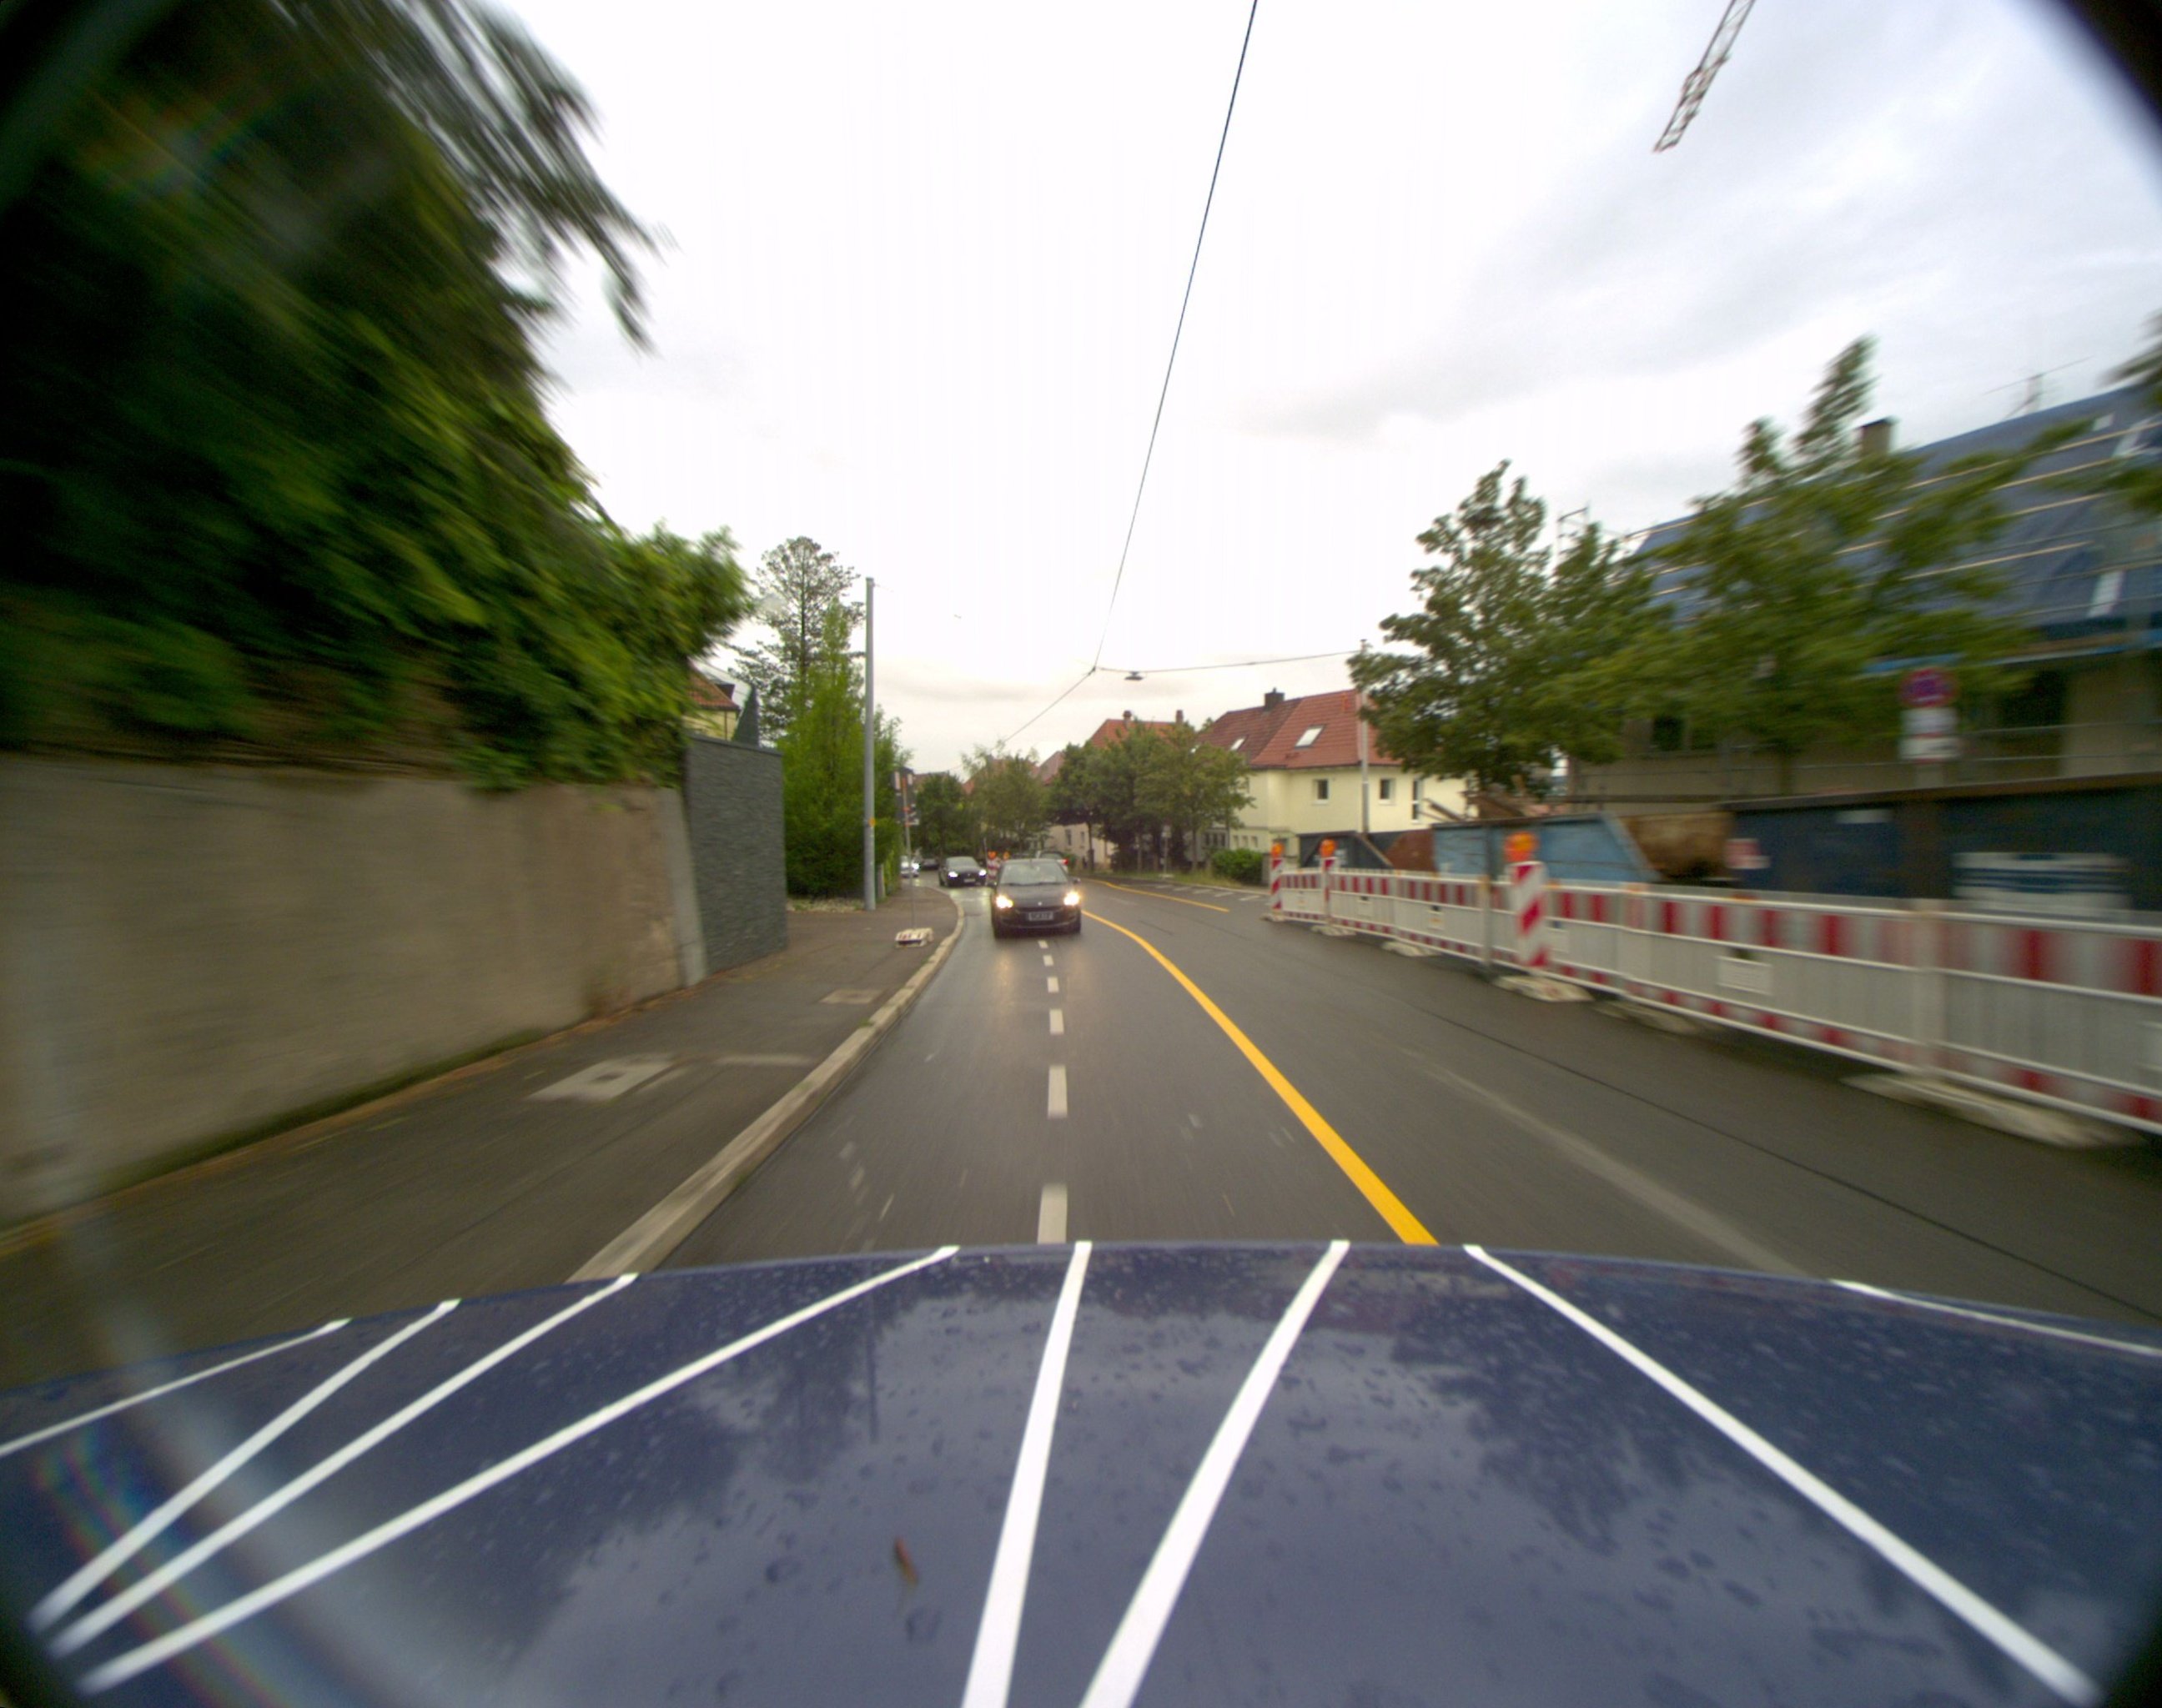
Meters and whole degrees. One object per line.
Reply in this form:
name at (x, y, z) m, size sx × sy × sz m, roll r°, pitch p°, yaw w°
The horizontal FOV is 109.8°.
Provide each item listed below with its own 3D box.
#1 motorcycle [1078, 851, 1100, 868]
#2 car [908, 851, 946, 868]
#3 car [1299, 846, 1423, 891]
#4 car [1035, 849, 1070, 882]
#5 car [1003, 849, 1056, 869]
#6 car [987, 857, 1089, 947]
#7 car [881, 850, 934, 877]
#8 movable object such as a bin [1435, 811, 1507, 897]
motorcycle at (0.582, 0.409, 56.973) m, size 0.735 × 1.241 × 1.965 m, roll -5°, pitch 2°, yaw -29°
car at (-13.959, 0.510, 68.659) m, size 1.714 × 1.375 × 4.518 m, roll -5°, pitch 3°, yaw -34°
car at (10.648, 0.548, 28.951) m, size 4.216 × 1.595 × 1.946 m, roll 1°, pitch 1°, yaw -23°
car at (-1.456, 0.546, 38.173) m, size 1.460 × 1.517 × 2.921 m, roll -3°, pitch 1°, yaw -7°
car at (-4.620, 0.468, 68.411) m, size 4.259 × 1.495 × 1.910 m, roll 5°, pitch -1°, yaw -24°
car at (-1.034, 0.869, 15.806) m, size 1.747 × 1.434 × 4.356 m, roll -4°, pitch 1°, yaw -7°
car at (-12.759, 0.678, 55.703) m, size 2.022 × 1.729 × 4.587 m, roll -7°, pitch 4°, yaw -35°
movable object such as a bin at (11.787, -0.014, 23.010) m, size 1.318 × 2.491 × 1.384 m, roll -2°, pitch 1°, yaw -21°
